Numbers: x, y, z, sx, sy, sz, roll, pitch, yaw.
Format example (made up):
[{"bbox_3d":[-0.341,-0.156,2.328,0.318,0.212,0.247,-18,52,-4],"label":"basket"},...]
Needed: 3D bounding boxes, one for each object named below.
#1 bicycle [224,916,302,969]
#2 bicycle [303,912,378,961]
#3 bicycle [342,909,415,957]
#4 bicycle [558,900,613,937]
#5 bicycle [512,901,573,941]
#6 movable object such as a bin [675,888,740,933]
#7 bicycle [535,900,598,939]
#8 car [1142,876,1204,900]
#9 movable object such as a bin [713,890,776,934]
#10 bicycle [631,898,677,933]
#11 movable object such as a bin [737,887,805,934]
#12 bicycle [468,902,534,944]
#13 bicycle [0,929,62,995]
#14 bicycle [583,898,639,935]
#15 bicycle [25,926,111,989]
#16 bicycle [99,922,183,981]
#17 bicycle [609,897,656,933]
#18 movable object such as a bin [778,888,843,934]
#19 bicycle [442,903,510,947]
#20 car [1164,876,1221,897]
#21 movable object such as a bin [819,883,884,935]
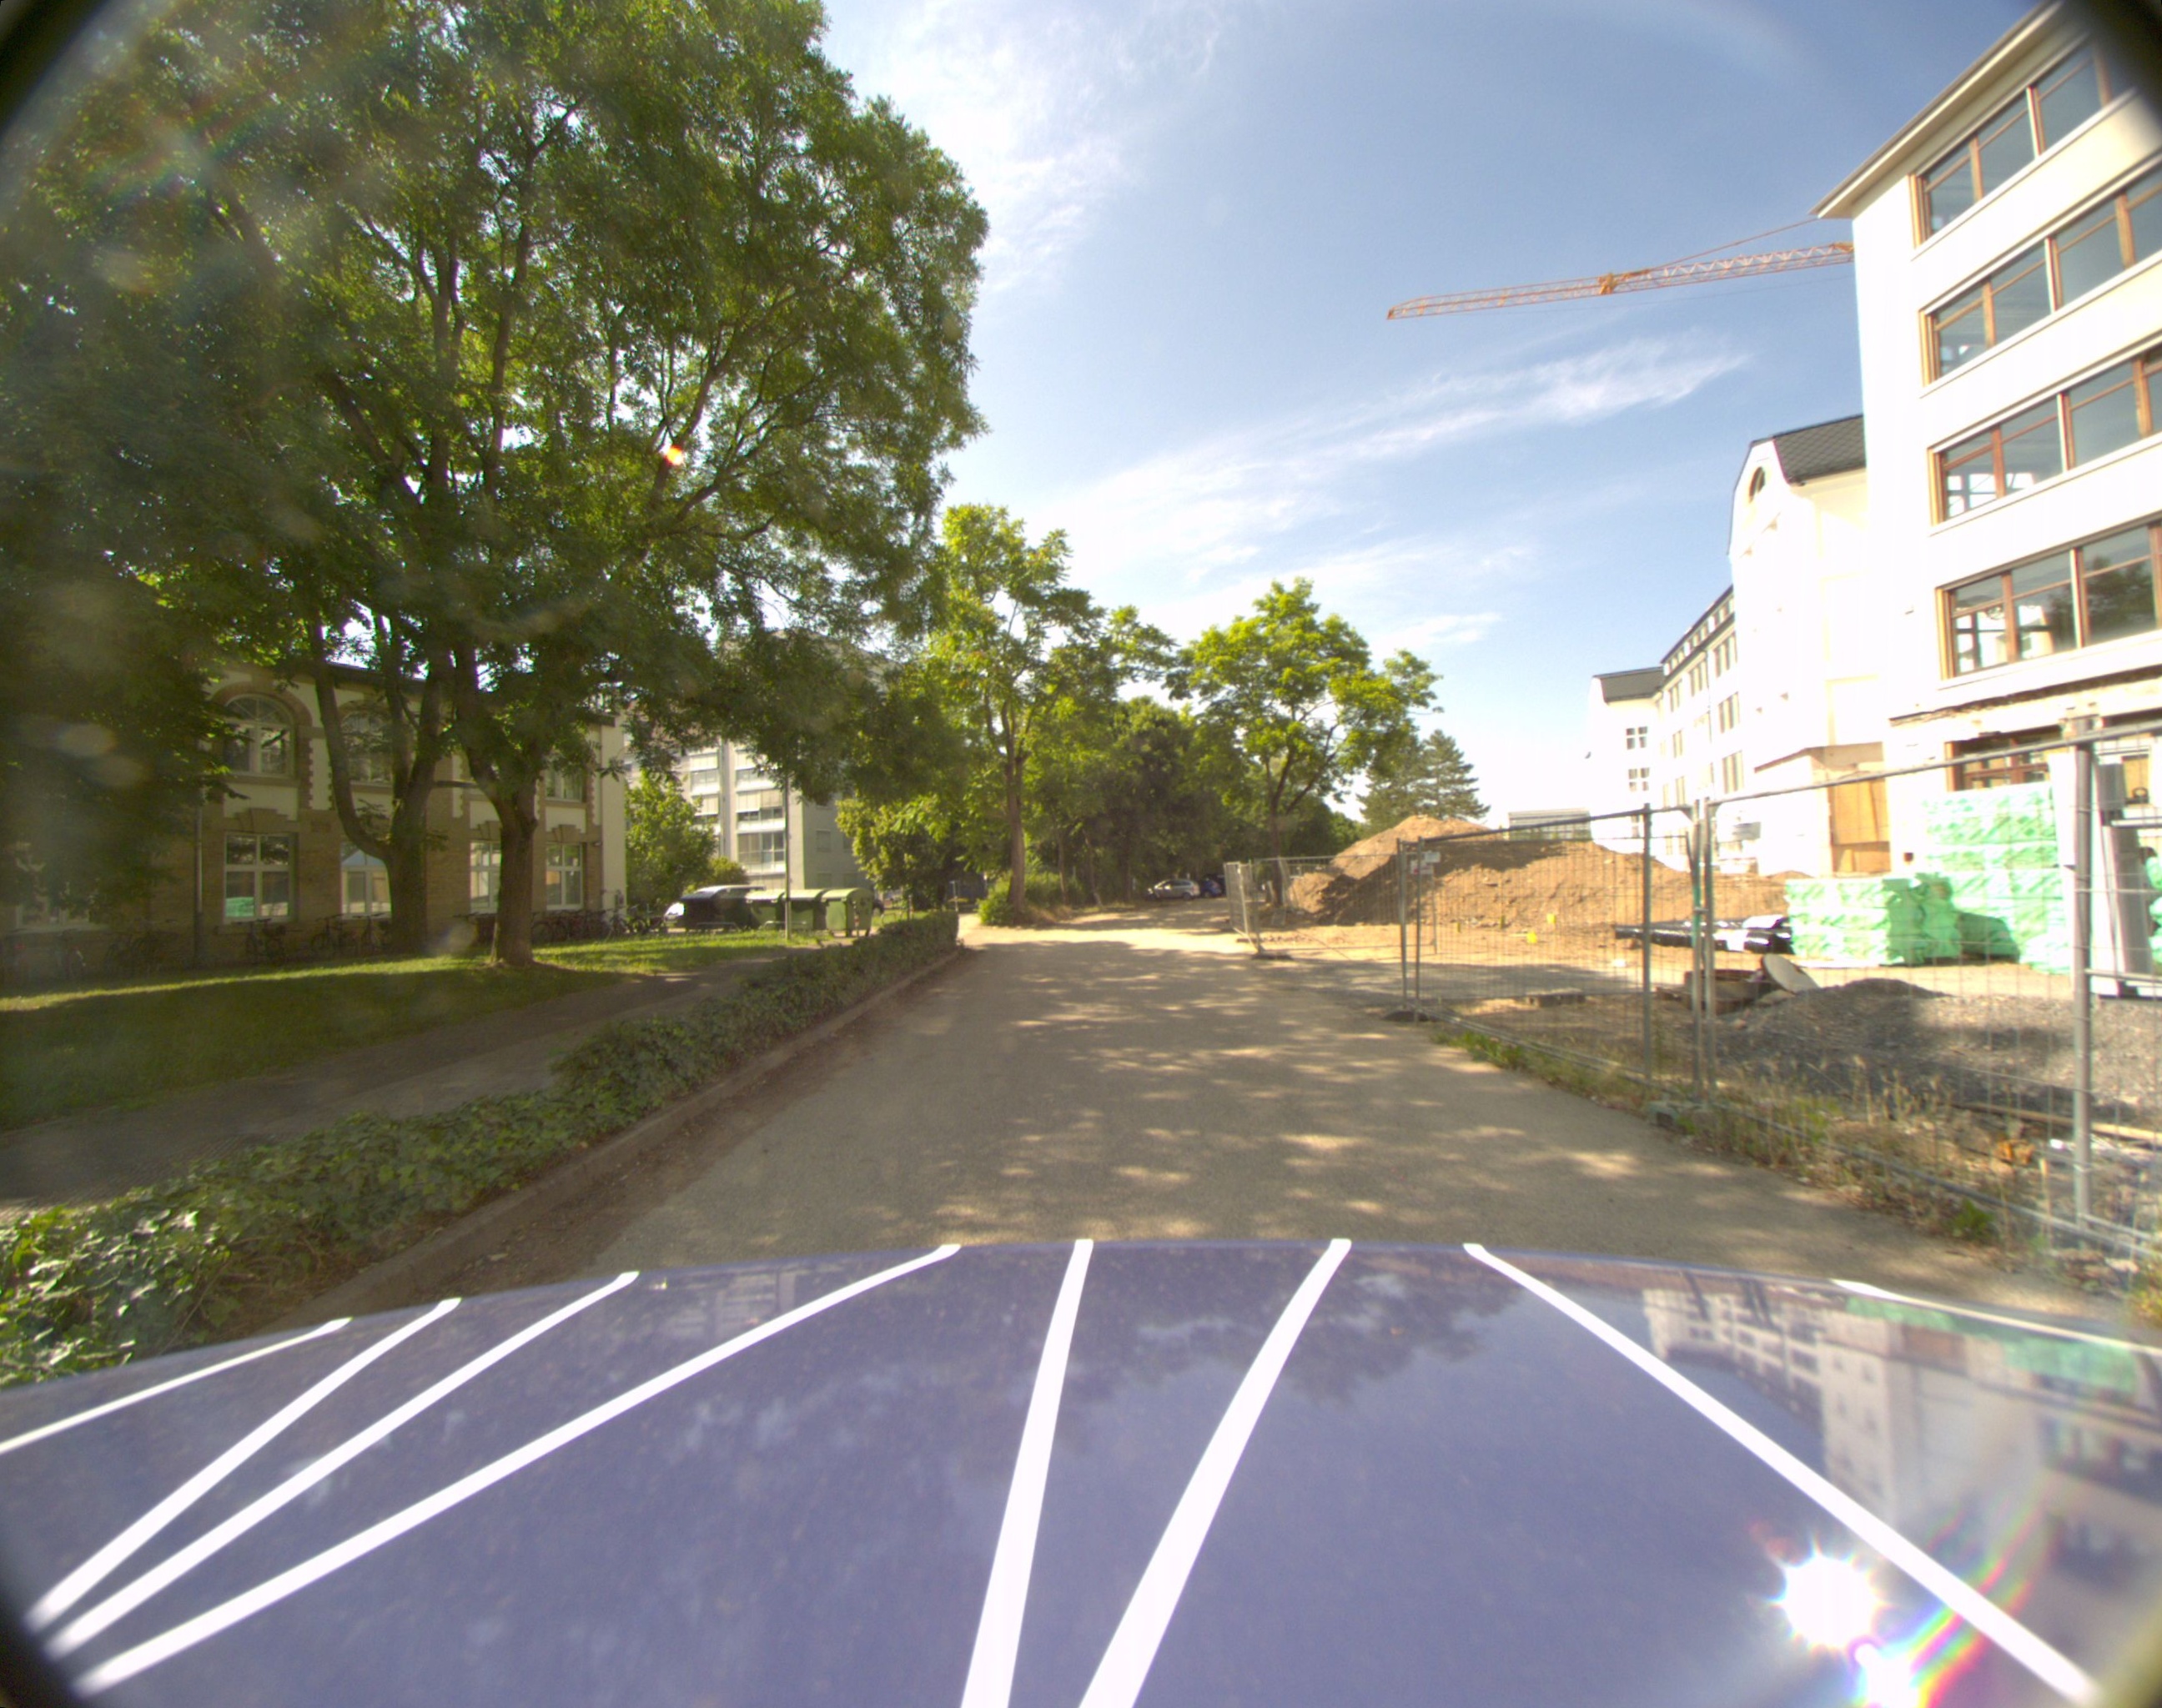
[{"bbox_3d":[-19.079,2.049,17.716,2.097,1.154,0.589,-3,-1,24],"label":"bicycle"},{"bbox_3d":[-18.480,2.044,18.944,2.097,1.154,0.589,-3,-1,24],"label":"bicycle"},{"bbox_3d":[-18.192,2.030,19.665,2.097,1.154,0.589,-3,-1,24],"label":"bicycle"},{"bbox_3d":[-15.898,2.068,24.368,1.909,1.154,0.495,-3,-1,24],"label":"bicycle"},{"bbox_3d":[-16.400,2.029,23.142,1.917,1.154,0.589,-3,-1,24],"label":"bicycle"},{"bbox_3d":[-12.365,1.864,25.171,1.433,1.401,1.252,-2,-1,20],"label":"movable object such as a bin"},{"bbox_3d":[-16.154,2.058,23.854,2.097,1.154,0.589,-3,-1,24],"label":"bicycle"},{"bbox_3d":[6.516,2.416,53.818,3.991,1.499,2.003,-2,-2,19],"label":"car"},{"bbox_3d":[-10.891,1.867,24.624,1.349,1.341,1.217,-2,-1,21],"label":"movable object such as a bin"},{"bbox_3d":[-14.707,2.098,26.141,1.940,1.154,0.558,-3,-1,34],"label":"bicycle"},{"bbox_3d":[-9.660,1.749,23.691,1.499,1.353,1.217,-2,-1,21],"label":"movable object such as a bin"},{"bbox_3d":[-16.952,2.024,22.189,2.097,1.154,0.589,-3,-1,24],"label":"bicycle"},{"bbox_3d":[-20.502,2.051,14.640,2.097,1.154,0.589,-3,-1,24],"label":"bicycle"},{"bbox_3d":[-15.587,2.074,25.176,1.847,1.154,0.614,-3,-1,24],"label":"bicycle"},{"bbox_3d":[-20.357,2.049,15.260,2.097,1.154,0.589,-3,-1,24],"label":"bicycle"},{"bbox_3d":[-19.913,2.048,16.084,2.097,1.154,0.589,-3,-1,24],"label":"bicycle"},{"bbox_3d":[-15.179,2.067,25.702,1.800,1.154,0.508,-3,-1,29],"label":"bicycle"},{"bbox_3d":[-8.233,1.732,23.159,1.352,1.292,1.217,-2,-1,21],"label":"movable object such as a bin"},{"bbox_3d":[-17.179,2.010,21.555,2.097,1.154,0.589,-3,-1,24],"label":"bicycle"},{"bbox_3d":[8.633,2.523,58.781,3.991,1.433,2.003,-2,-2,19],"label":"car"},{"bbox_3d":[-6.851,1.629,22.657,1.389,1.454,1.218,-3,-1,36],"label":"movable object such as a bin"}]
